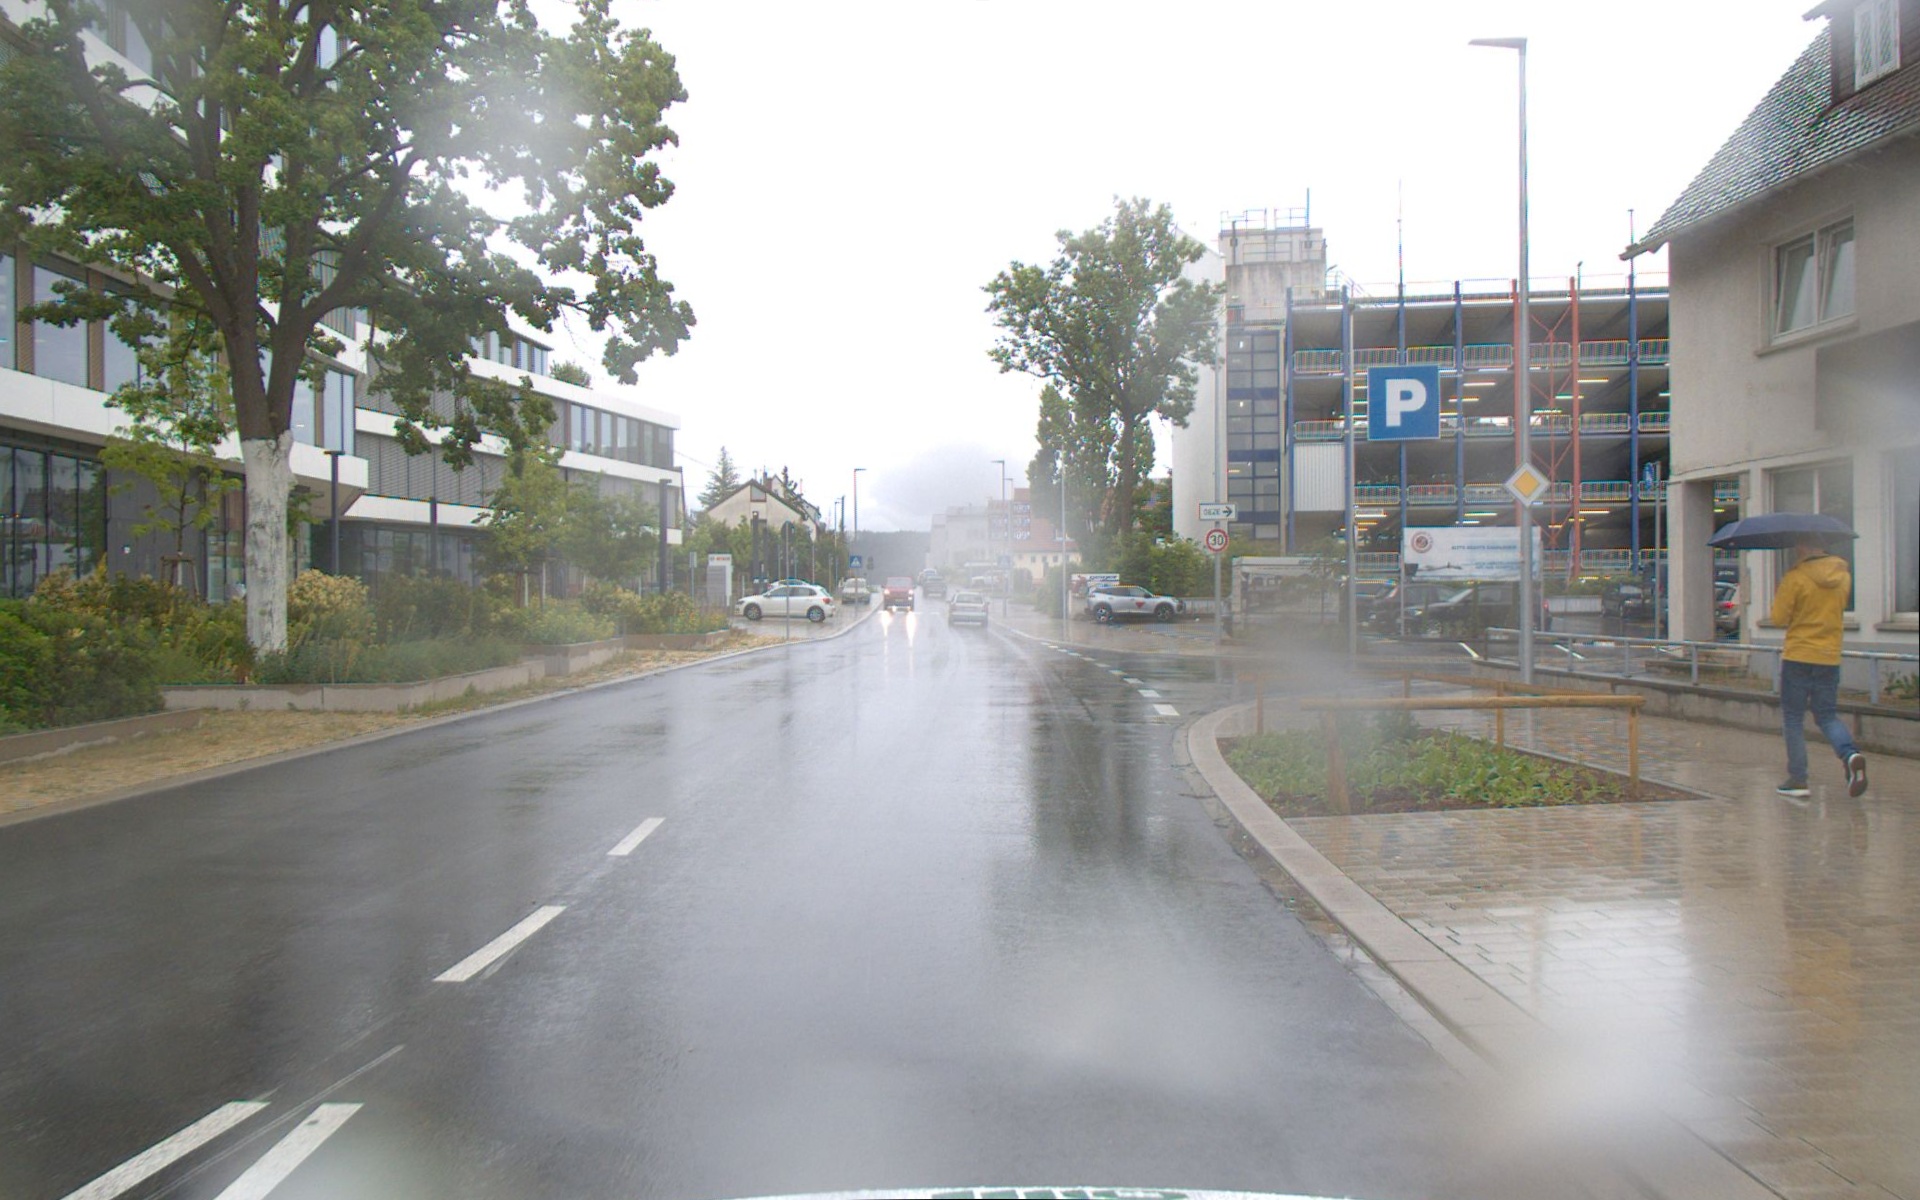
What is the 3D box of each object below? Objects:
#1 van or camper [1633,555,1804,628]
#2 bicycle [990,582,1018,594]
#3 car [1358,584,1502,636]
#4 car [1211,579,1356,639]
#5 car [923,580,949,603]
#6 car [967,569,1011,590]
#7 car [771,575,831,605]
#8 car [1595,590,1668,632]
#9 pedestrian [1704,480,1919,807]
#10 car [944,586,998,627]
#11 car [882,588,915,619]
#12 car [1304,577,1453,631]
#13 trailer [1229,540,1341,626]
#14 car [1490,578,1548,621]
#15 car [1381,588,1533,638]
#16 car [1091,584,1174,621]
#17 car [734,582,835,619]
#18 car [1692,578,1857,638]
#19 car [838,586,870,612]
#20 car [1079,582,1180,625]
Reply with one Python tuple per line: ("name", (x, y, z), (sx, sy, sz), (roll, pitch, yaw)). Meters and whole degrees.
("van or camper", (25.944, -0.291, 56.703), (4.849, 2.366, 2.224), (-1, 0, 6))
("bicycle", (4.092, -1.127, 154.820), (0.662, 1.085, 3.588), (4, -1, -33))
("car", (13.591, 0.274, 47.939), (3.653, 1.474, 1.729), (0, 0, -5))
("car", (8.956, 0.253, 45.919), (3.650, 1.555, 1.649), (-1, -1, -2))
("car", (-2.057, -0.687, 140.887), (2.111, 1.735, 3.998), (4, -1, -2))
("car", (2.831, -2.026, 161.319), (4.032, 1.735, 1.786), (4, -1, -5))
("car", (-12.823, -0.814, 133.499), (4.664, 2.049, 1.997), (4, -1, -8))
("car", (27.644, 0.465, 68.201), (1.852, 1.512, 4.003), (3, -1, 9))
("pedestrian", (5.761, 0.271, 11.145), (0.842, 2.049, 1.194), (-2, 0, -4))
("car", (0.454, 0.297, 71.008), (1.910, 1.583, 3.996), (4, -1, -4))
("car", (-3.821, 0.201, 101.826), (1.963, 1.849, 4.977), (0, 0, -3))
("car", (13.385, 0.107, 53.024), (4.269, 1.680, 1.843), (0, 0, -4))
("trailer", (8.497, -0.447, 43.331), (2.646, 2.209, 1.548), (0, 0, 0))
("car", (23.169, -0.042, 68.648), (1.693, 1.708, 4.004), (-1, 1, 10))
("car", (13.662, 0.334, 45.557), (3.653, 1.338, 1.691), (0, 0, -5))
("car", (7.563, 0.096, 72.445), (3.544, 1.520, 1.808), (-1, 0, 7))
("car", (-7.005, -0.001, 66.348), (3.848, 1.448, 1.898), (0, 0, -1))
("car", (24.413, 0.242, 49.691), (4.039, 1.696, 1.866), (-1, 0, 7))
("car", (-7.119, -0.078, 111.387), (1.953, 1.657, 4.152), (0, 1, -2))
("car", (7.152, 0.141, 69.739), (4.117, 1.678, 2.002), (-2, 0, 8))
